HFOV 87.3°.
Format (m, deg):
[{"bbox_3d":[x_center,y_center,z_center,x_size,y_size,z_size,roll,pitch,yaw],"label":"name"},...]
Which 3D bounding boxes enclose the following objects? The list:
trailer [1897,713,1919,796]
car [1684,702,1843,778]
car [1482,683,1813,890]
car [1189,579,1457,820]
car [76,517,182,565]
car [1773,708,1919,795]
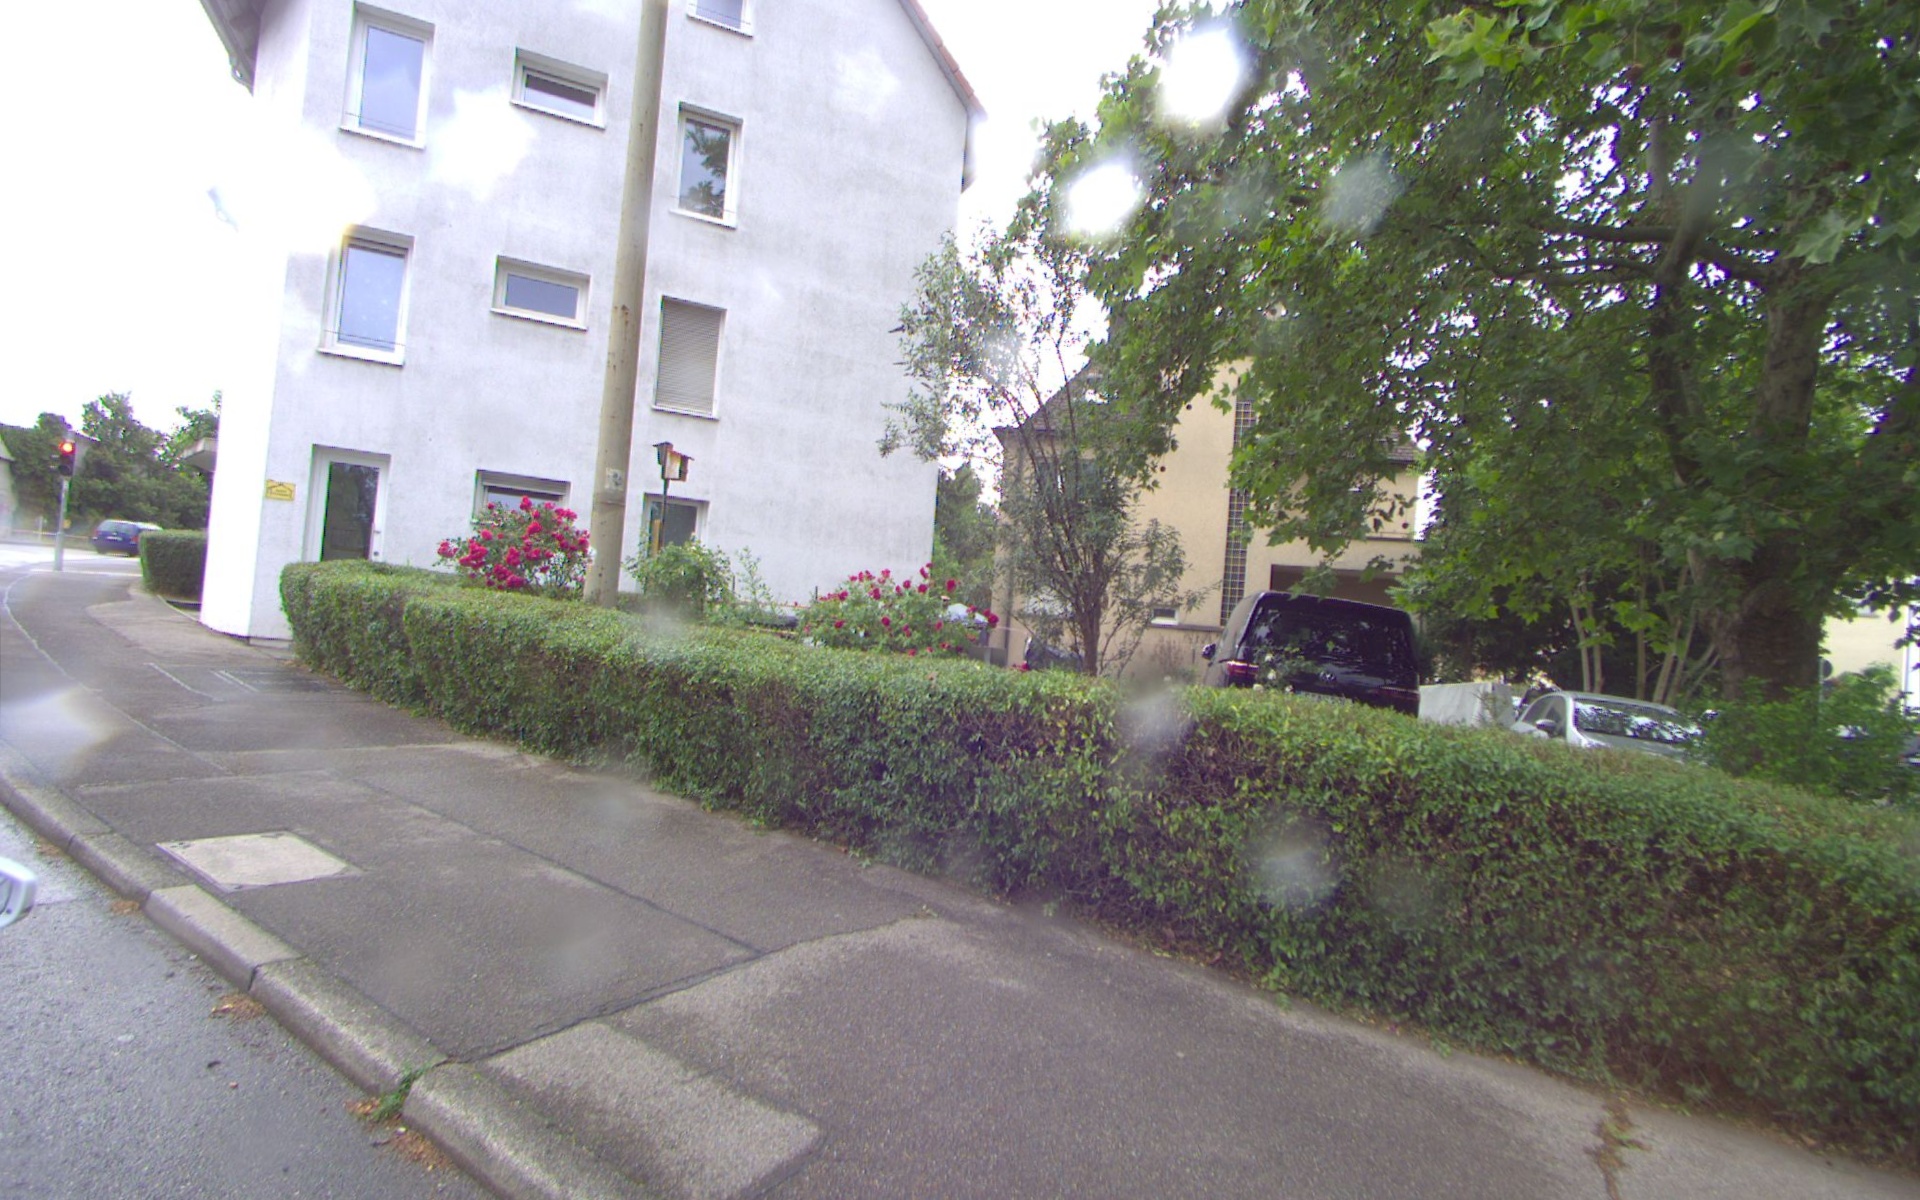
[{"bbox_3d":[24.723,3.914,23.970,1.640,2.037,3.494,6,-1,8],"label":"trailer"},{"bbox_3d":[26.351,4.540,33.229,1.962,1.861,4.584,6,-1,9],"label":"car"},{"bbox_3d":[7.390,1.874,11.341,1.788,1.599,4.003,6,-2,16],"label":"car"},{"bbox_3d":[3.762,0.986,11.297,1.962,1.955,4.419,6,-1,11],"label":"car"},{"bbox_3d":[-34.508,-2.405,41.918,1.971,1.536,3.986,7,-2,-19],"label":"car"},{"bbox_3d":[25.267,4.201,27.984,1.962,1.861,4.584,6,-1,9],"label":"car"}]
